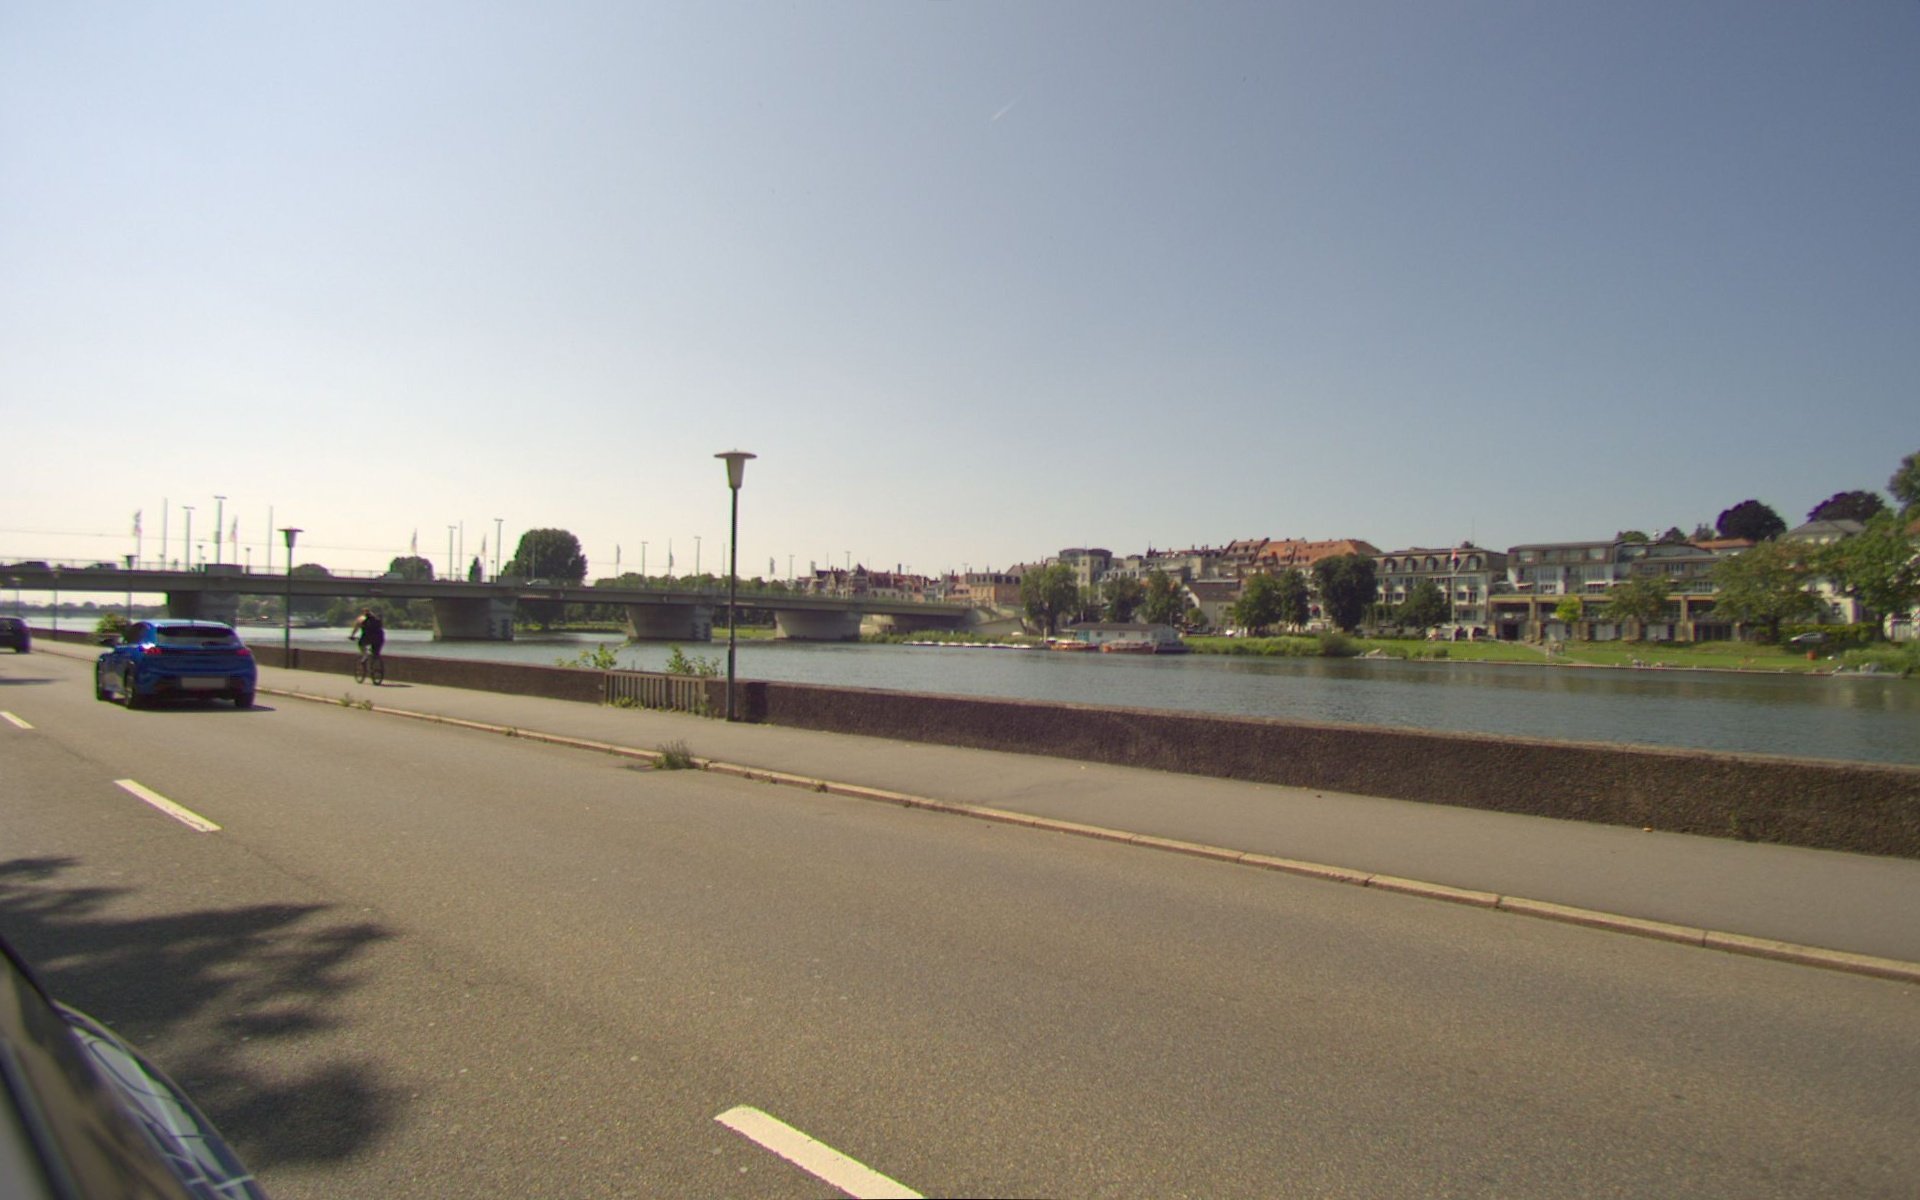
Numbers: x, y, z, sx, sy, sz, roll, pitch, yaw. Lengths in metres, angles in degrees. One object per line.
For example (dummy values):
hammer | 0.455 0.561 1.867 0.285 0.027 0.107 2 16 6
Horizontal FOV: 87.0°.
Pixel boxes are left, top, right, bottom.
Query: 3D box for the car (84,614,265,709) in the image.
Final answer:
car | -13.691 1.020 17.567 3.899 1.452 1.655 -1 -4 40

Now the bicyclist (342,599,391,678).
bicyclist | -13.261 0.838 22.605 0.974 1.715 0.654 -1 -1 41

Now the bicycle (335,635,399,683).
bicycle | -13.273 1.308 22.623 1.943 0.990 0.645 -1 -1 41

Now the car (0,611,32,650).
car | -38.672 1.190 40.559 3.723 1.502 1.649 -1 -4 40
